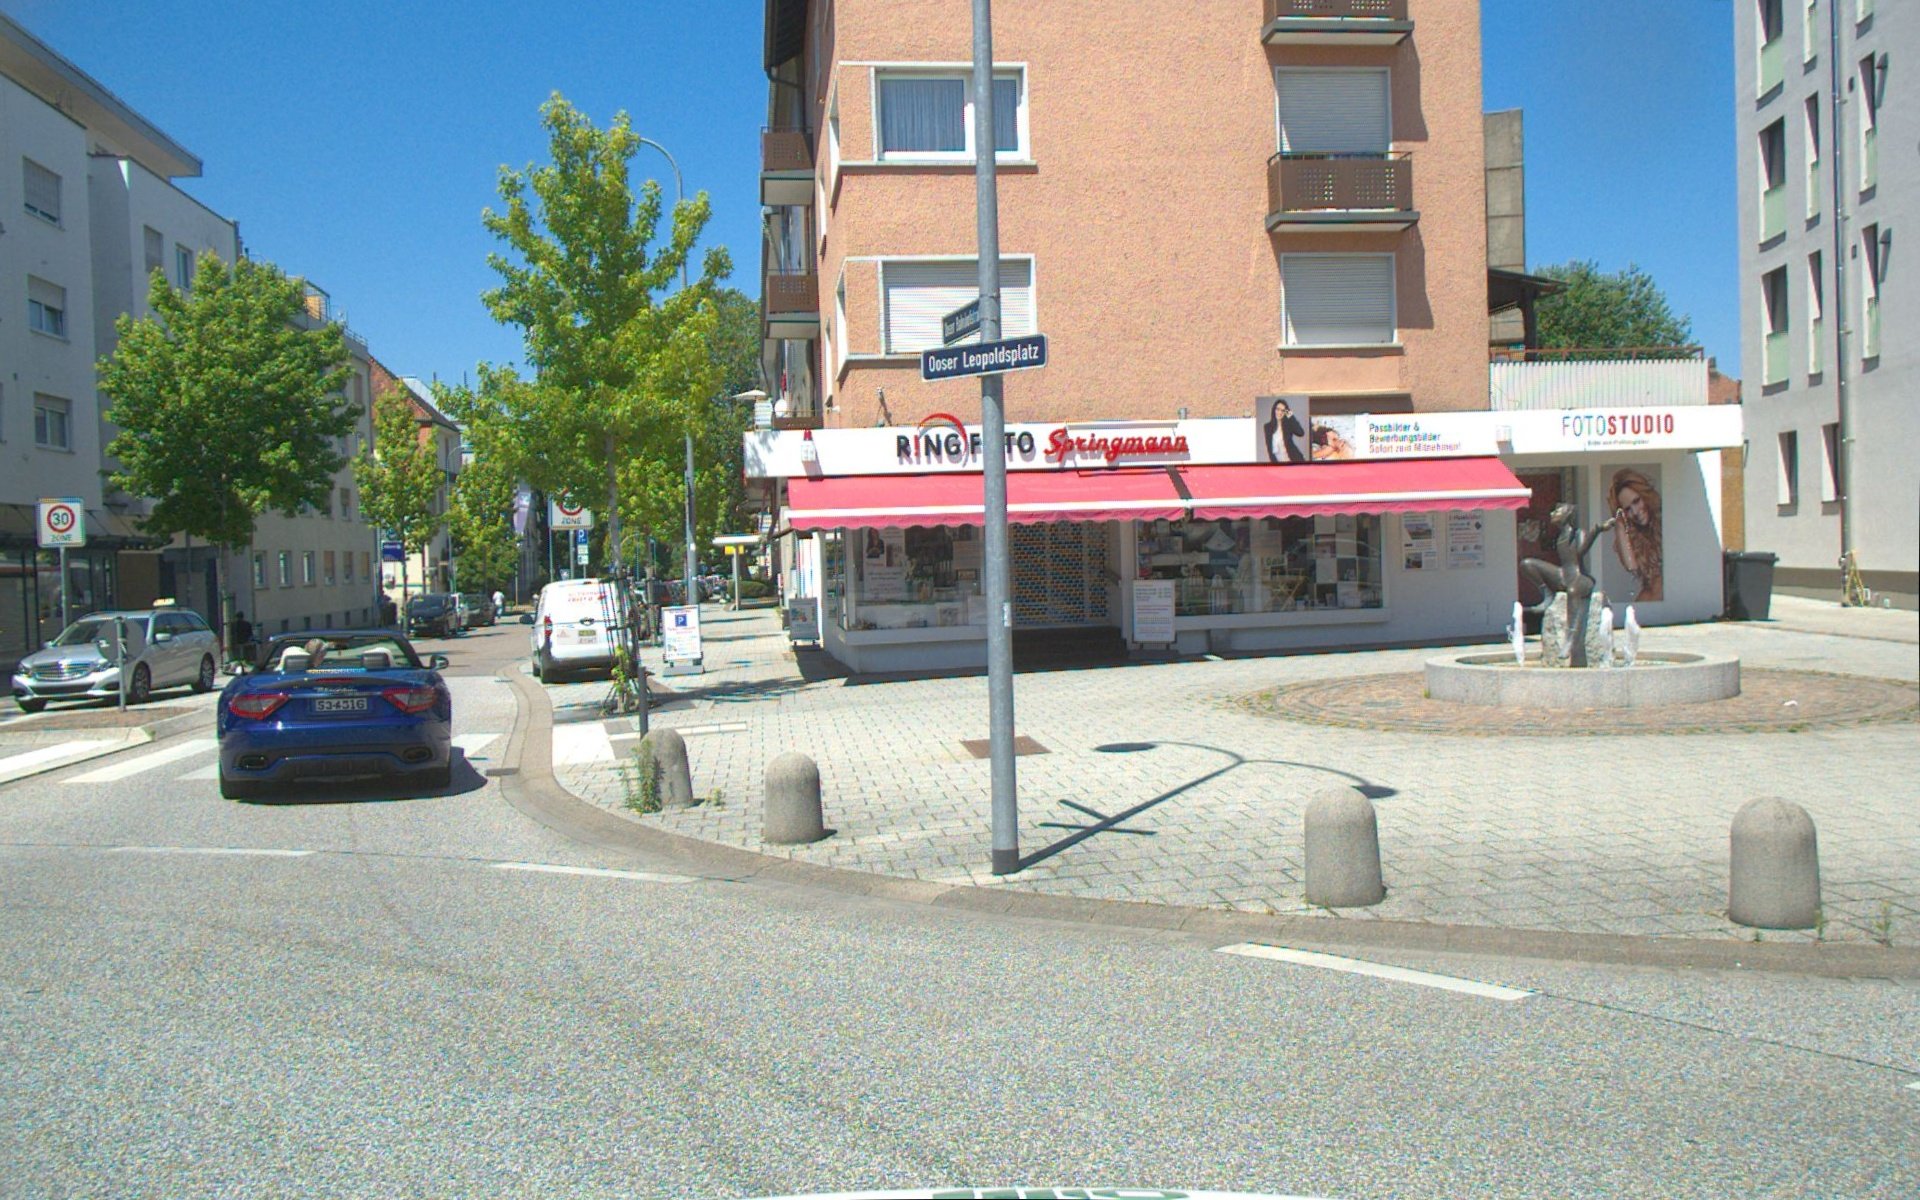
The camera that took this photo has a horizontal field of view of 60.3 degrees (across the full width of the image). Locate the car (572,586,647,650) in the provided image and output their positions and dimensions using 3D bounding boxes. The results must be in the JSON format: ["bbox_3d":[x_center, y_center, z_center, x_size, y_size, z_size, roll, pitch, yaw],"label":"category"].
[{"bbox_3d":[-10.737,0.500,50.952,1.731,1.735,4.698,-4,1,-7],"label":"car"}]

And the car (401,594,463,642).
[{"bbox_3d":[-21.033,0.688,66.025,1.697,1.771,4.384,0,1,-9],"label":"car"}]

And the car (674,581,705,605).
[{"bbox_3d":[-19.671,-0.531,120.503,1.939,1.475,4.343,-4,2,-7],"label":"car"}]

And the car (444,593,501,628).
[{"bbox_3d":[-22.910,0.481,77.802,1.720,1.499,4.317,-1,1,-5],"label":"car"}]

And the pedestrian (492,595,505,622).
[{"bbox_3d":[-25.608,0.466,91.761,0.568,1.500,0.563,-2,1,-8],"label":"pedestrian"}]

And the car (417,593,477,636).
[{"bbox_3d":[-22.186,0.596,71.649,1.790,1.647,4.384,-1,2,-9],"label":"car"}]

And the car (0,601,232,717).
[{"bbox_3d":[-14.086,0.900,27.821,1.956,1.620,4.991,-2,1,-7],"label":"car"}]

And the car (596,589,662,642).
[{"bbox_3d":[-11.225,0.500,56.311,1.689,1.610,4.220,-4,1,-6],"label":"car"}]

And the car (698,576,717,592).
[{"bbox_3d":[-26.997,-1.739,176.879,1.914,1.501,4.130,-4,2,-8],"label":"car"}]

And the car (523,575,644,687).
[{"bbox_3d":[-6.820,0.507,29.714,1.720,1.753,3.891,-4,1,-17],"label":"car"}]

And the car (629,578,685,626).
[{"bbox_3d":[-13.560,0.059,74.260,1.955,1.829,4.565,-4,3,-5],"label":"car"}]

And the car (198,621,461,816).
[{"bbox_3d":[-5.802,0.945,15.267,1.948,1.422,4.597,0,0,-21],"label":"car"}]

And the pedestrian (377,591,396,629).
[{"bbox_3d":[-26.851,0.458,77.402,0.648,1.709,0.626,-5,4,-25],"label":"pedestrian"}]

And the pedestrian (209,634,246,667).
[{"bbox_3d":[-20.102,1.384,45.414,0.651,0.873,0.733,-3,-3,2],"label":"pedestrian"}]

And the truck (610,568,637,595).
[{"bbox_3d":[-29.046,-1.593,142.835,1.770,2.154,4.708,-4,2,-7],"label":"truck"}]

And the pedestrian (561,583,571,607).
[{"bbox_3d":[-27.290,-0.330,114.525,0.576,1.601,0.780,-2,1,-8],"label":"pedestrian"}]

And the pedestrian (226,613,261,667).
[{"bbox_3d":[-19.258,1.064,44.452,0.556,1.396,0.667,-3,0,2],"label":"pedestrian"}]

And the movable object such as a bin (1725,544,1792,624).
[{"bbox_3d":[12.594,-0.254,26.102,0.742,1.175,0.775,-3,3,10],"label":"movable object such as a bin"}]
